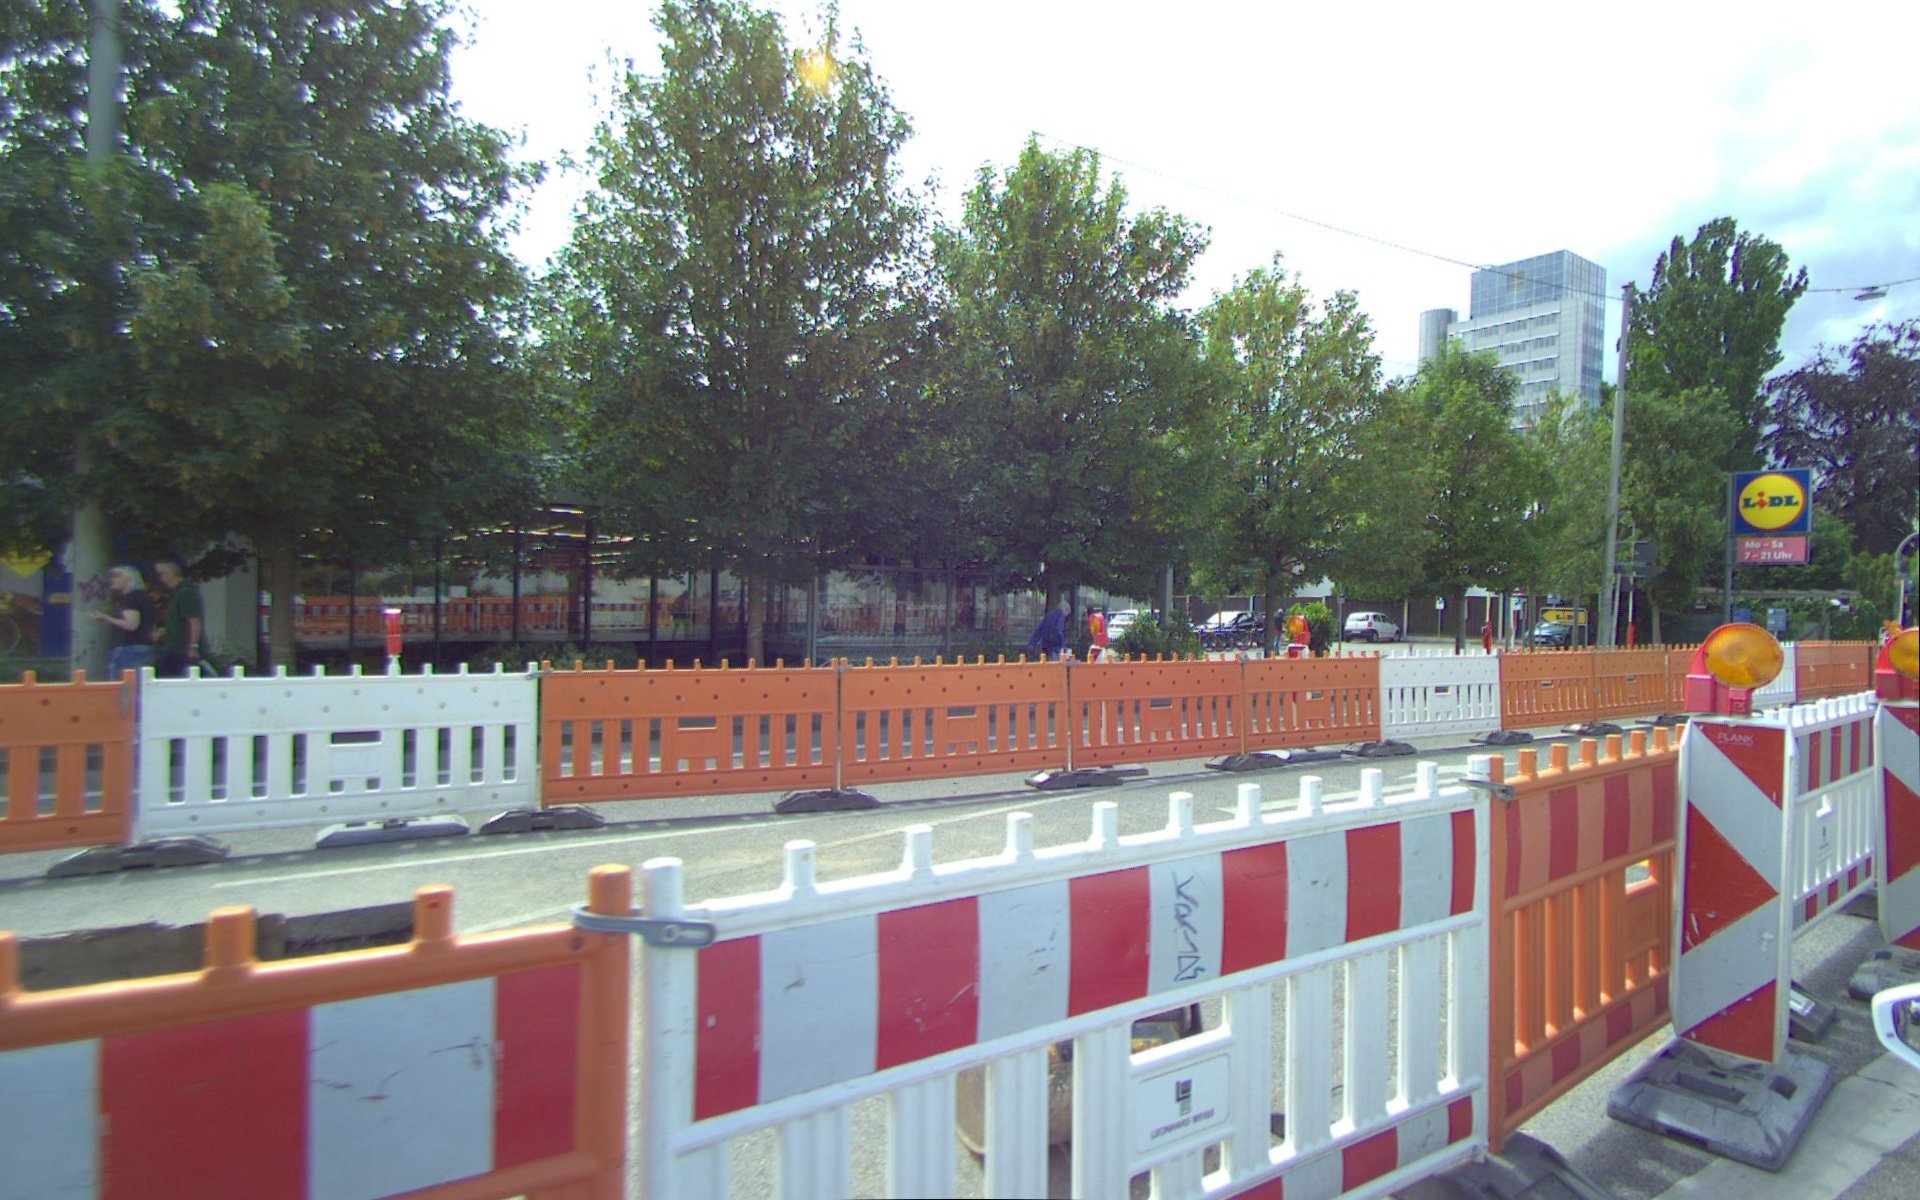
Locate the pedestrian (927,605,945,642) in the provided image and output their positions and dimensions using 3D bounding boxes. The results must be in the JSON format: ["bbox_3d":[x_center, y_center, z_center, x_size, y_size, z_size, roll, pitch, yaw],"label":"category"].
[{"bbox_3d":[-1.059,1.045,44.995,0.601,1.638,0.500,2,0,-37],"label":"pedestrian"}]

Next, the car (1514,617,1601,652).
[{"bbox_3d":[26.935,1.531,45.243,3.962,1.472,1.980,2,-1,-36],"label":"car"}]

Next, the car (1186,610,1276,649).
[{"bbox_3d":[12.562,1.334,46.472,3.962,1.718,1.980,1,-1,-36],"label":"car"}]

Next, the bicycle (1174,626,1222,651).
[{"bbox_3d":[9.675,1.547,40.868,1.852,0.970,0.348,1,0,33],"label":"bicycle"}]

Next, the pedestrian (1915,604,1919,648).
[{"bbox_3d":[41.228,1.125,42.749,0.884,1.879,0.677,2,0,-36],"label":"pedestrian"}]

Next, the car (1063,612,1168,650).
[{"bbox_3d":[6.991,1.375,44.850,4.630,1.593,1.979,2,-1,-37],"label":"car"}]

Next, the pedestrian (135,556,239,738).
[{"bbox_3d":[-8.194,0.492,10.677,0.611,1.871,0.626,1,0,-7],"label":"pedestrian"}]

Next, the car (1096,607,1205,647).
[{"bbox_3d":[8.130,1.166,42.655,4.630,1.593,1.979,2,-1,-37],"label":"car"}]

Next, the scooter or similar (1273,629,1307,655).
[{"bbox_3d":[12.645,1.612,38.491,1.219,0.956,0.648,1,0,-39],"label":"scooter or similar"}]

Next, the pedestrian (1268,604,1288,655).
[{"bbox_3d":[11.989,1.109,37.854,0.606,1.884,0.417,1,0,-39],"label":"pedestrian"}]

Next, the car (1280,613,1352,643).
[{"bbox_3d":[19.335,1.525,54.487,3.967,1.572,1.977,2,-1,-40],"label":"car"}]

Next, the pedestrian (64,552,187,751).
[{"bbox_3d":[-8.150,0.493,9.838,0.611,1.871,0.696,1,0,-7],"label":"pedestrian"}]

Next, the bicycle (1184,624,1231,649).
[{"bbox_3d":[10.218,1.505,41.459,1.852,0.970,0.348,1,0,33],"label":"bicycle"}]

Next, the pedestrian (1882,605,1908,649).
[{"bbox_3d":[40.514,1.161,43.523,0.700,1.879,0.677,2,0,-36],"label":"pedestrian"}]

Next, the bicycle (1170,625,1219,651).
[{"bbox_3d":[9.321,1.514,39.955,1.846,0.970,0.349,1,0,11],"label":"bicycle"}]

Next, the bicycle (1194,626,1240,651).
[{"bbox_3d":[10.750,1.594,42.053,1.852,0.970,0.348,1,0,33],"label":"bicycle"}]

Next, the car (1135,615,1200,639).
[{"bbox_3d":[12.970,1.691,62.703,3.967,1.416,1.977,2,-1,-40],"label":"car"}]

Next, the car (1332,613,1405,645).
[{"bbox_3d":[21.590,1.533,53.007,3.967,1.572,1.977,2,-1,-40],"label":"car"}]

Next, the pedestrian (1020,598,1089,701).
[{"bbox_3d":[1.552,0.794,16.444,0.822,1.624,0.746,1,0,-38],"label":"pedestrian"}]
